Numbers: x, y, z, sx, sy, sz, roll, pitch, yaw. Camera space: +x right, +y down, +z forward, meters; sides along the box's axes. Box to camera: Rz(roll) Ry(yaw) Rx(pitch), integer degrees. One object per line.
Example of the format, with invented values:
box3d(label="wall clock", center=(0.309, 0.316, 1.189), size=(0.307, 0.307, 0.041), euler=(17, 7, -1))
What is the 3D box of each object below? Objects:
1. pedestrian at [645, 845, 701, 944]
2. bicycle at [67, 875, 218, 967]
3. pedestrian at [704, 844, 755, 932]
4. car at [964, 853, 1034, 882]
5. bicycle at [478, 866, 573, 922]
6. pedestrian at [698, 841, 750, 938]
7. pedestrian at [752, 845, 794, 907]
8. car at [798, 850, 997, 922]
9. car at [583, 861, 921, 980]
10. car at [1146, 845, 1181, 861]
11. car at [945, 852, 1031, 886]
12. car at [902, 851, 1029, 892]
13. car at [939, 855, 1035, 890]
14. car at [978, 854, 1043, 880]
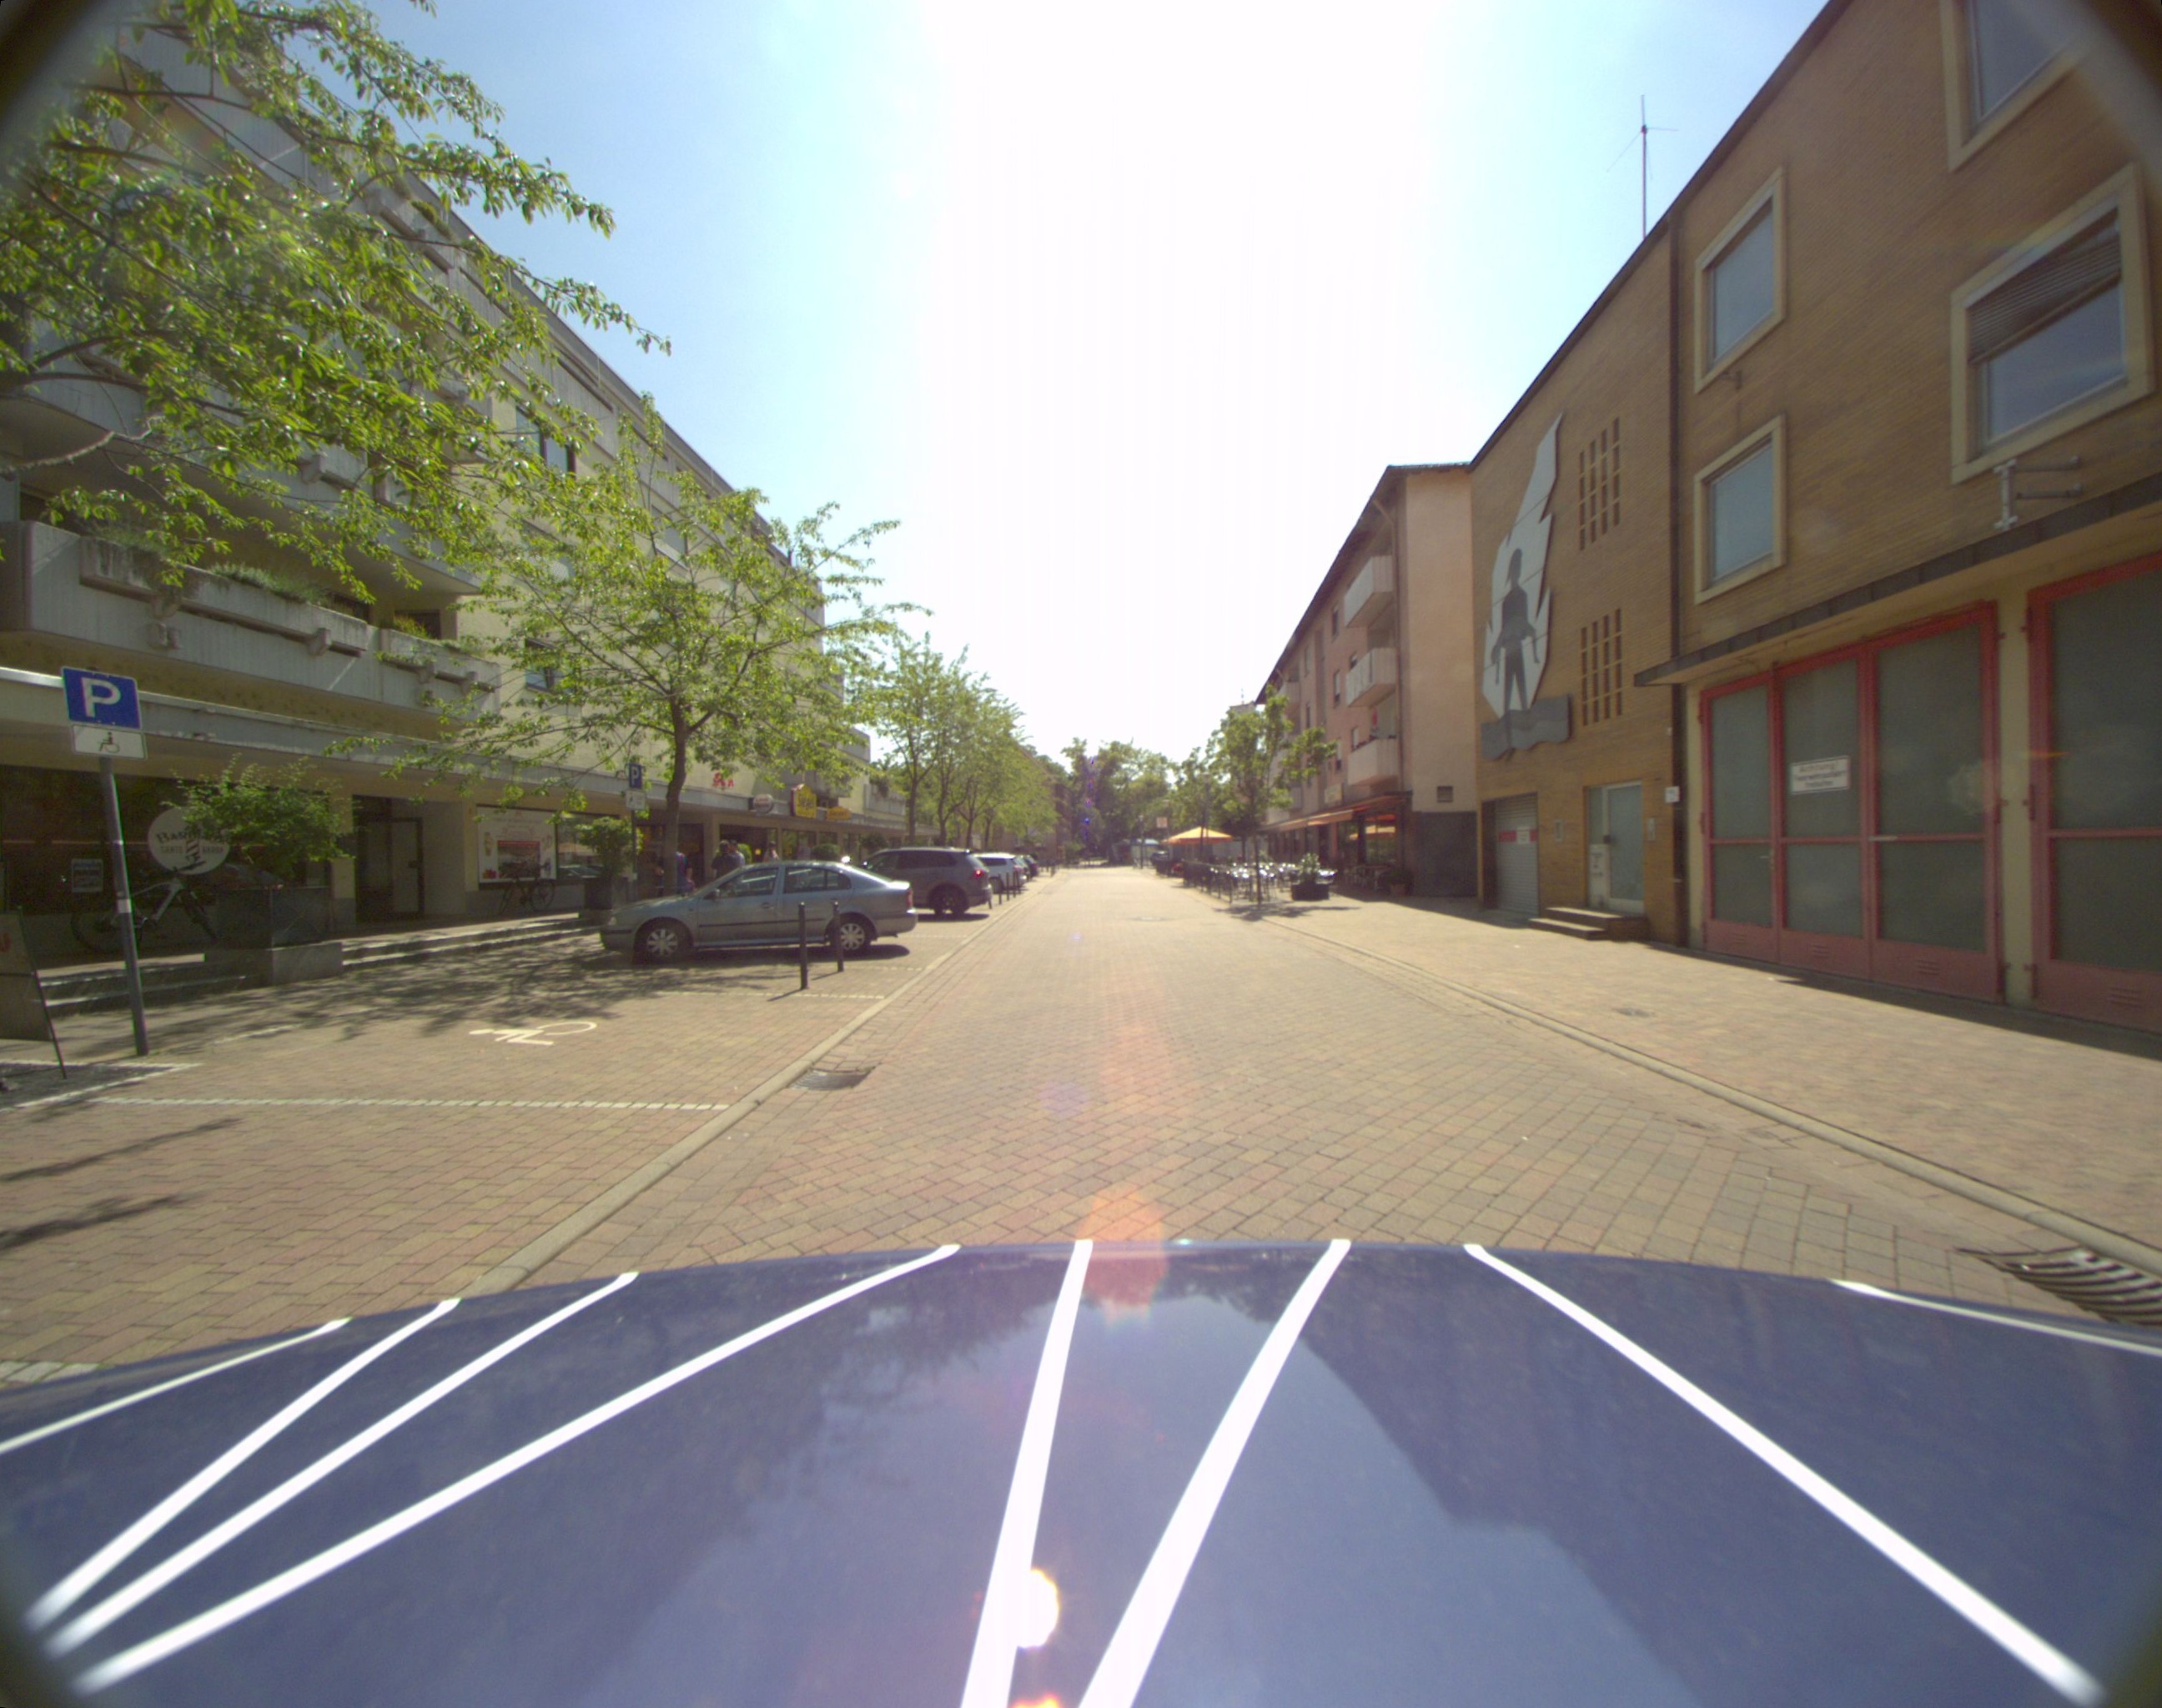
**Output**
box3d(label="pedestrian", center=(-7.518, 0.729, 14.018), size=(0.685, 1.763, 0.633), euler=(-1, 1, 39))
box3d(label="bicycle", center=(-12.277, 0.842, 9.997), size=(0.361, 1.061, 1.313), euler=(-3, 1, -5))
box3d(label="pedestrian", center=(-7.195, 0.683, 15.562), size=(0.614, 1.721, 0.649), euler=(-1, 2, 35))
box3d(label="car", center=(-4.220, 0.669, 39.482), size=(3.401, 1.455, 1.520), euler=(0, 1, 1))
box3d(label="bicycle", center=(-12.178, 0.858, 16.751), size=(0.643, 1.075, 1.866), euler=(-2, 1, 1))
box3d(label="pedestrian", center=(-6.835, 0.662, 14.541), size=(0.626, 1.786, 0.607), euler=(-1, 1, 37))
box3d(label="pedestrian", center=(-9.000, 0.624, 22.253), size=(0.759, 1.770, 0.870), euler=(-1, 1, 8))
box3d(label="car", center=(-4.188, 0.715, 17.866), size=(4.254, 1.608, 1.756), euler=(0, 1, -1))
box3d(label="car", center=(-4.830, 0.904, 11.719), size=(4.391, 1.455, 1.887), euler=(-1, 1, -19))
box3d(label="car", center=(8.998, -0.155, 82.401), size=(1.899, 1.547, 5.041), euler=(-1, 1, 30))
box3d(label="car", center=(-4.166, 0.668, 34.356), size=(3.652, 1.508, 1.633), euler=(0, 1, 1))
box3d(label="car", center=(-4.369, 0.657, 29.249), size=(4.585, 1.535, 1.807), euler=(0, 1, 1))
box3d(label="car", center=(-3.889, 0.743, 31.792), size=(3.800, 1.423, 1.614), euler=(0, 1, 1))
box3d(label="car", center=(-3.862, 0.697, 41.899), size=(3.401, 1.382, 1.460), euler=(0, 1, 1))
